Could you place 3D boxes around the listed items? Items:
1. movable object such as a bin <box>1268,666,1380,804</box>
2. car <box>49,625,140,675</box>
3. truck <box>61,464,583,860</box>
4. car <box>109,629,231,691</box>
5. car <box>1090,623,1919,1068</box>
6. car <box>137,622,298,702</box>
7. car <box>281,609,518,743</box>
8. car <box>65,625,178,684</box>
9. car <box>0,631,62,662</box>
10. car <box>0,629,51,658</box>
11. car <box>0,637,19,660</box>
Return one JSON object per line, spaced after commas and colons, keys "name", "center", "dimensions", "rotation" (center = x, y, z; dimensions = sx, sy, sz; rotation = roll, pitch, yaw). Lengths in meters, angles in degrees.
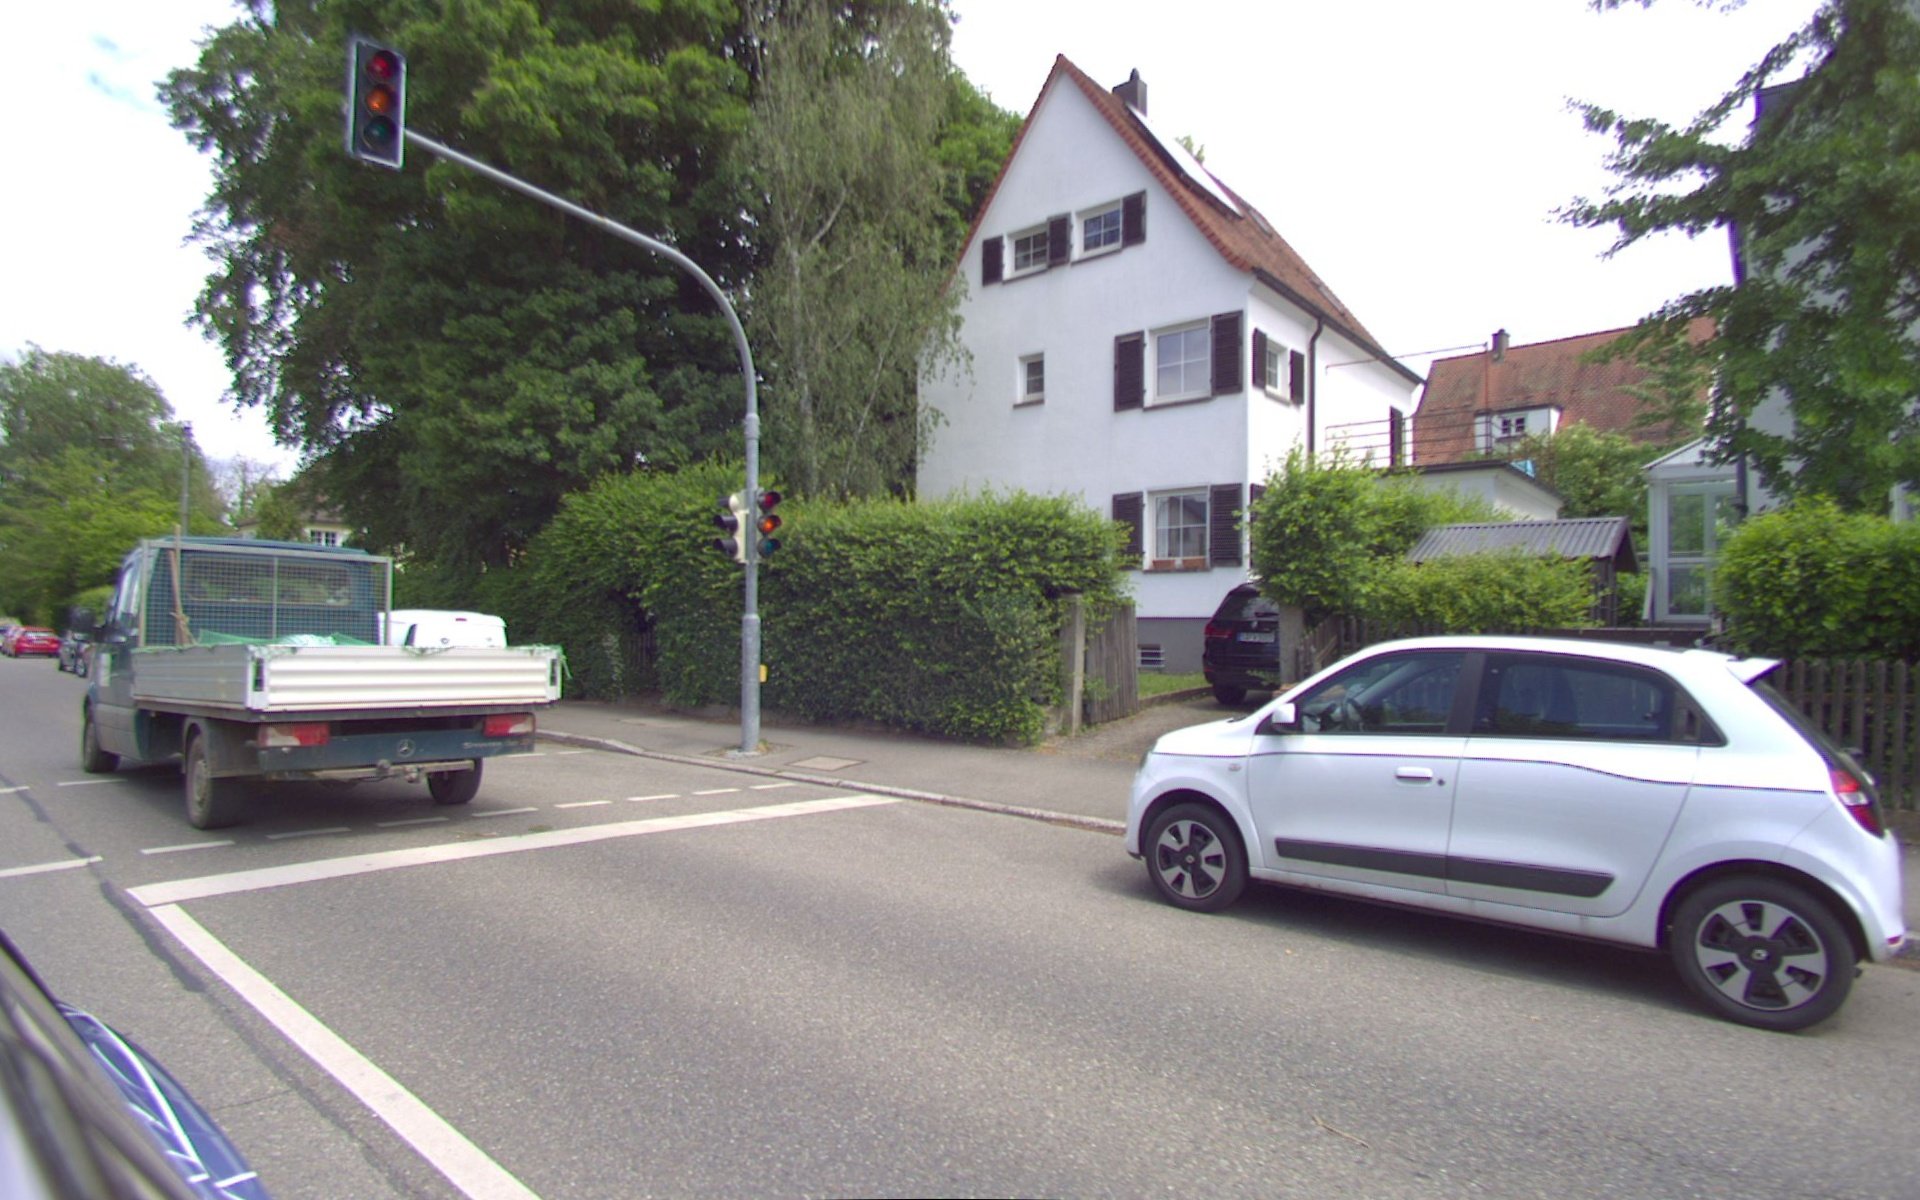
{"name": "movable object such as a bin", "center": [3.166, 1.143, 8.812], "dimensions": [0.748, 1.088, 0.510], "rotation": [-2, 0, 42]}
{"name": "car", "center": [-28.808, 1.651, 33.643], "dimensions": [4.327, 1.546, 1.738], "rotation": [-2, -4, 43]}
{"name": "truck", "center": [-6.196, 0.499, 9.243], "dimensions": [6.902, 2.390, 2.165], "rotation": [-2, -4, 42]}
{"name": "car", "center": [-20.557, 1.504, 26.278], "dimensions": [4.235, 1.470, 1.715], "rotation": [-2, -3, 41]}
{"name": "car", "center": [2.708, 0.943, 5.336], "dimensions": [3.742, 1.555, 1.684], "rotation": [-2, -4, 43]}
{"name": "car", "center": [-16.645, 1.318, 22.606], "dimensions": [4.640, 1.606, 1.877], "rotation": [-2, -3, 40]}
{"name": "car", "center": [-8.739, 1.109, 15.607], "dimensions": [4.605, 1.772, 1.659], "rotation": [-2, -4, 41]}
{"name": "car", "center": [-24.819, 1.565, 29.908], "dimensions": [4.413, 1.623, 1.772], "rotation": [-2, -3, 40]}
{"name": "car", "center": [-44.402, 2.191, 48.273], "dimensions": [4.065, 1.413, 1.945], "rotation": [-2, -3, 43]}
{"name": "car", "center": [-49.164, 2.274, 53.013], "dimensions": [3.747, 1.462, 1.829], "rotation": [-2, -3, 41]}
{"name": "car", "center": [-58.502, 2.943, 61.625], "dimensions": [1.652, 1.381, 3.610], "rotation": [4, -4, -42]}
